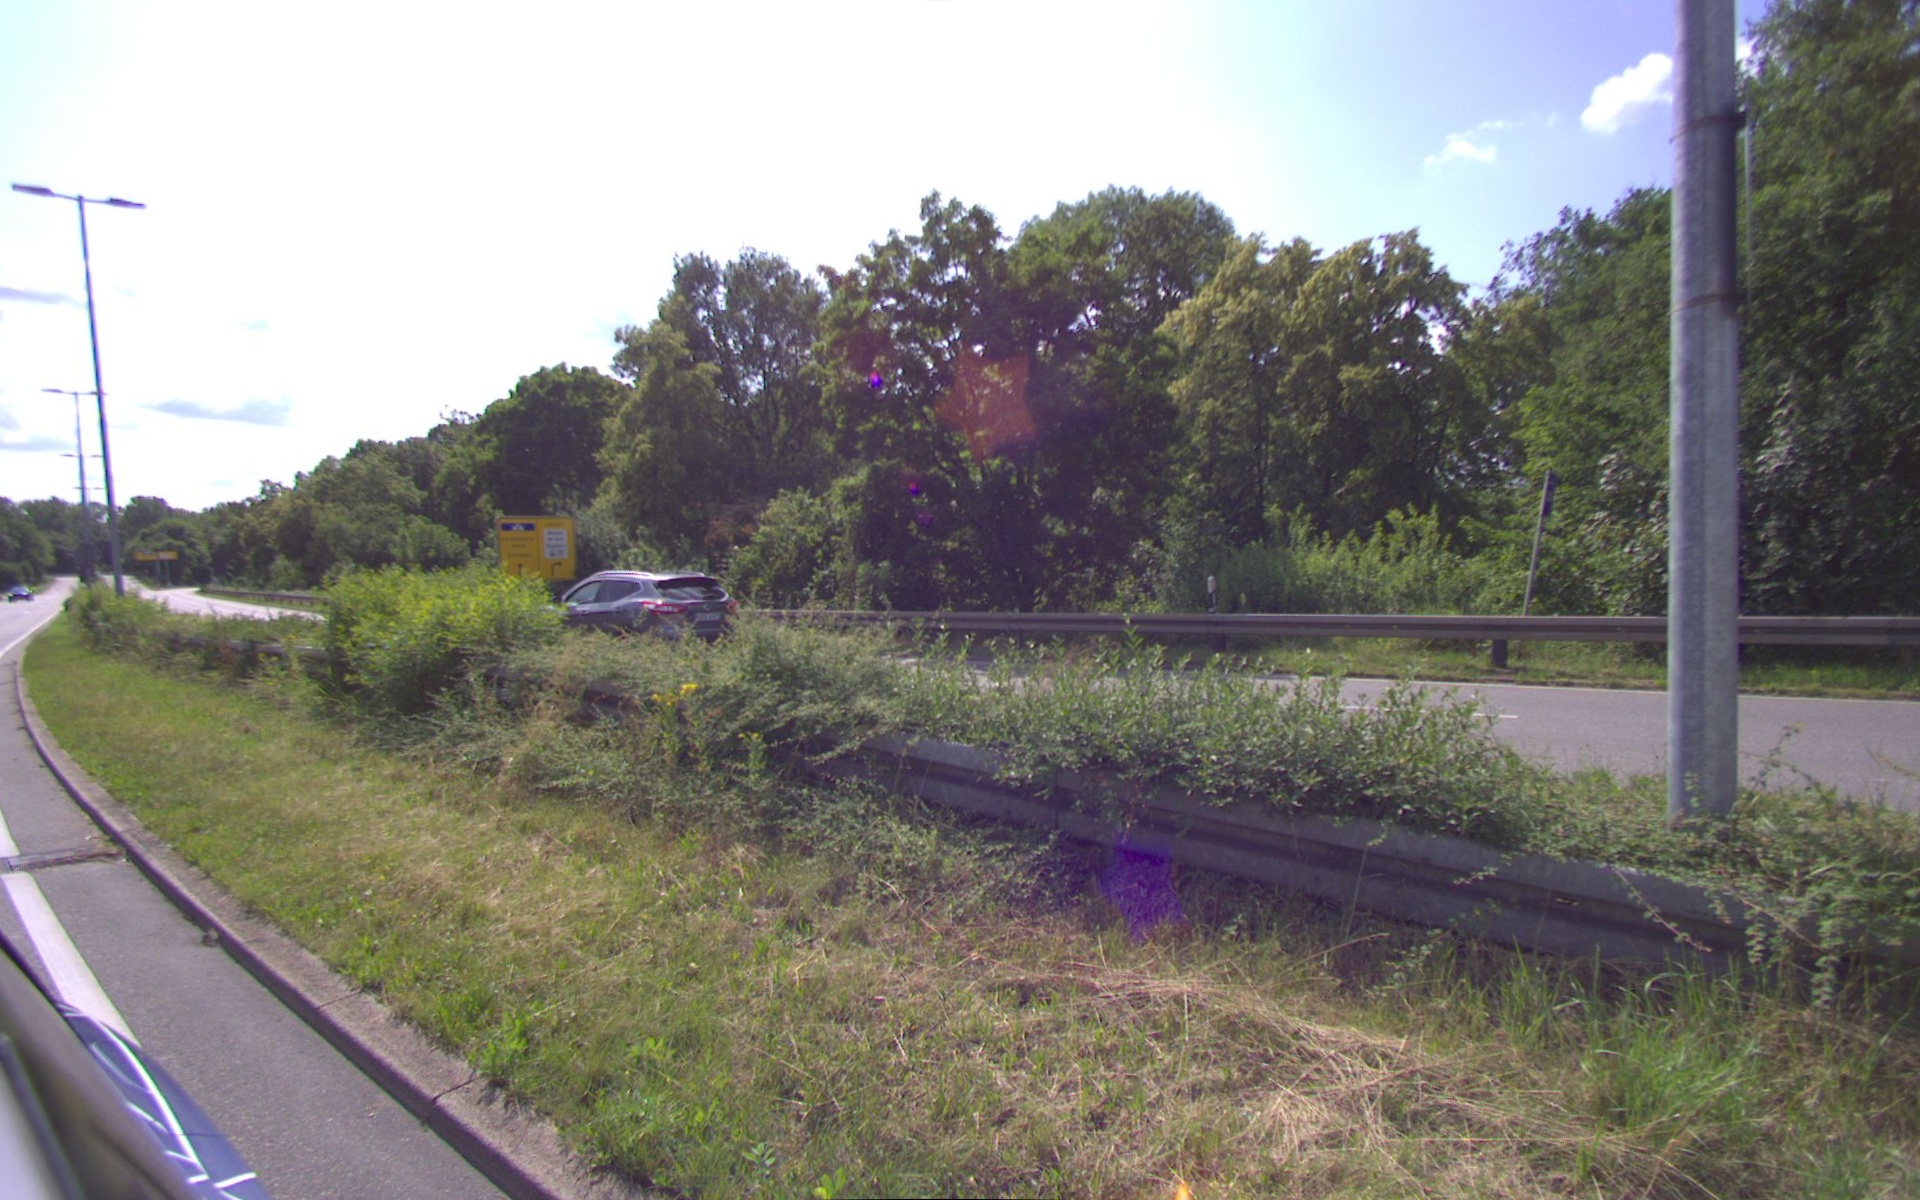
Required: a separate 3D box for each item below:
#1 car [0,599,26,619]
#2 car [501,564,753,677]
[{"bbox_3d":[-105.337,0.983,112.549,1.948,2.029,4.006,-2,2,-41],"label":"car"},{"bbox_3d":[-5.410,0.319,16.216,4.274,1.598,1.695,-1,0,37],"label":"car"}]
